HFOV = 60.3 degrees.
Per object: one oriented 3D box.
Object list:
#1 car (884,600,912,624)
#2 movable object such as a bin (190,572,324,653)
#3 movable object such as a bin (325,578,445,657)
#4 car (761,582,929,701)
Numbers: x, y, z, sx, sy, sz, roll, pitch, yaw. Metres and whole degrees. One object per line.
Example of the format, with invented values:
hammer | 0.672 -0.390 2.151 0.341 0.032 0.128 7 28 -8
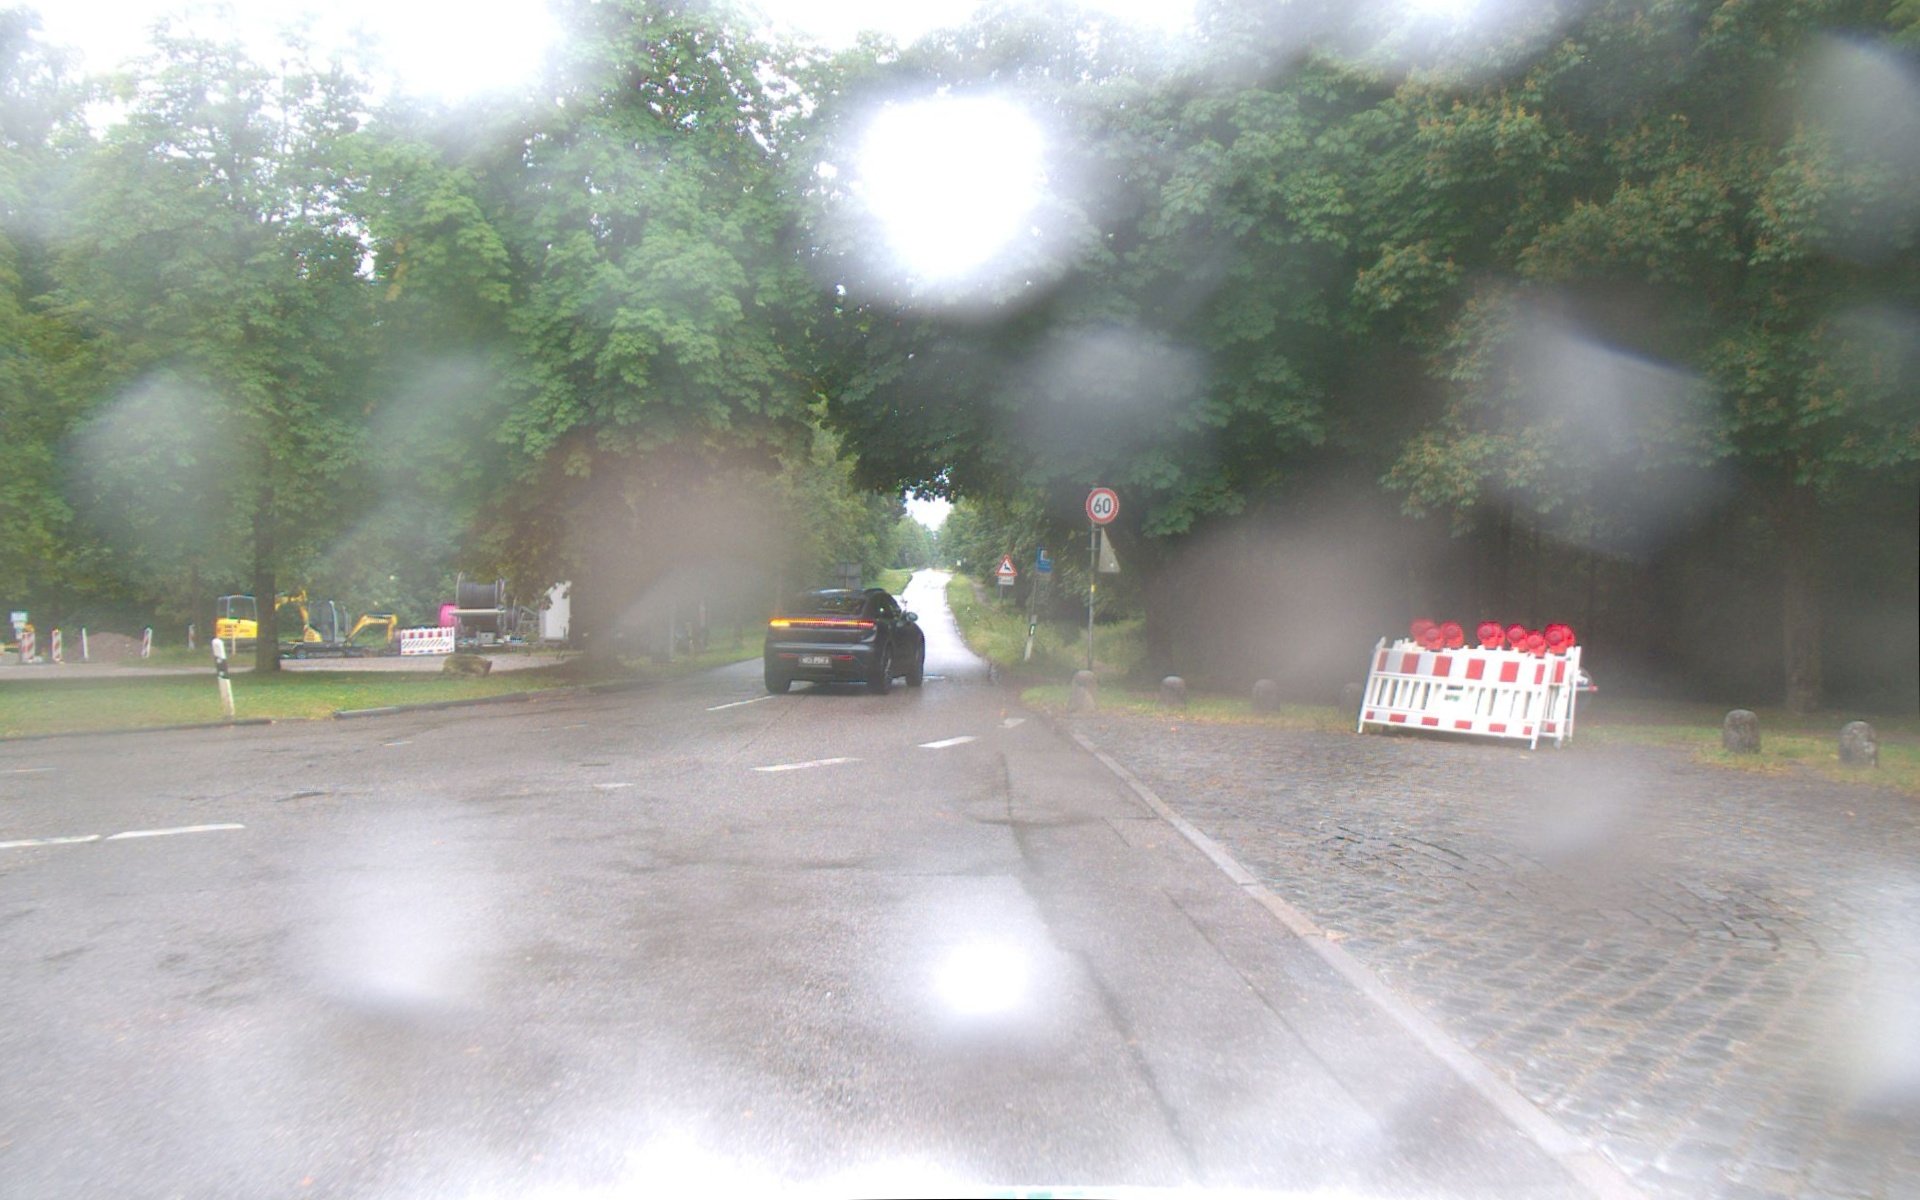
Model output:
car | -4.570 0.870 121.709 1.953 1.747 3.999 0 0 -1
movable object such as a bin | -30.030 0.548 70.876 4.573 3.352 3.902 0 0 -12
movable object such as a bin | -25.141 0.776 72.598 4.501 3.352 3.655 0 0 -12
car | -1.759 0.594 26.837 1.689 1.738 4.579 -1 1 9
